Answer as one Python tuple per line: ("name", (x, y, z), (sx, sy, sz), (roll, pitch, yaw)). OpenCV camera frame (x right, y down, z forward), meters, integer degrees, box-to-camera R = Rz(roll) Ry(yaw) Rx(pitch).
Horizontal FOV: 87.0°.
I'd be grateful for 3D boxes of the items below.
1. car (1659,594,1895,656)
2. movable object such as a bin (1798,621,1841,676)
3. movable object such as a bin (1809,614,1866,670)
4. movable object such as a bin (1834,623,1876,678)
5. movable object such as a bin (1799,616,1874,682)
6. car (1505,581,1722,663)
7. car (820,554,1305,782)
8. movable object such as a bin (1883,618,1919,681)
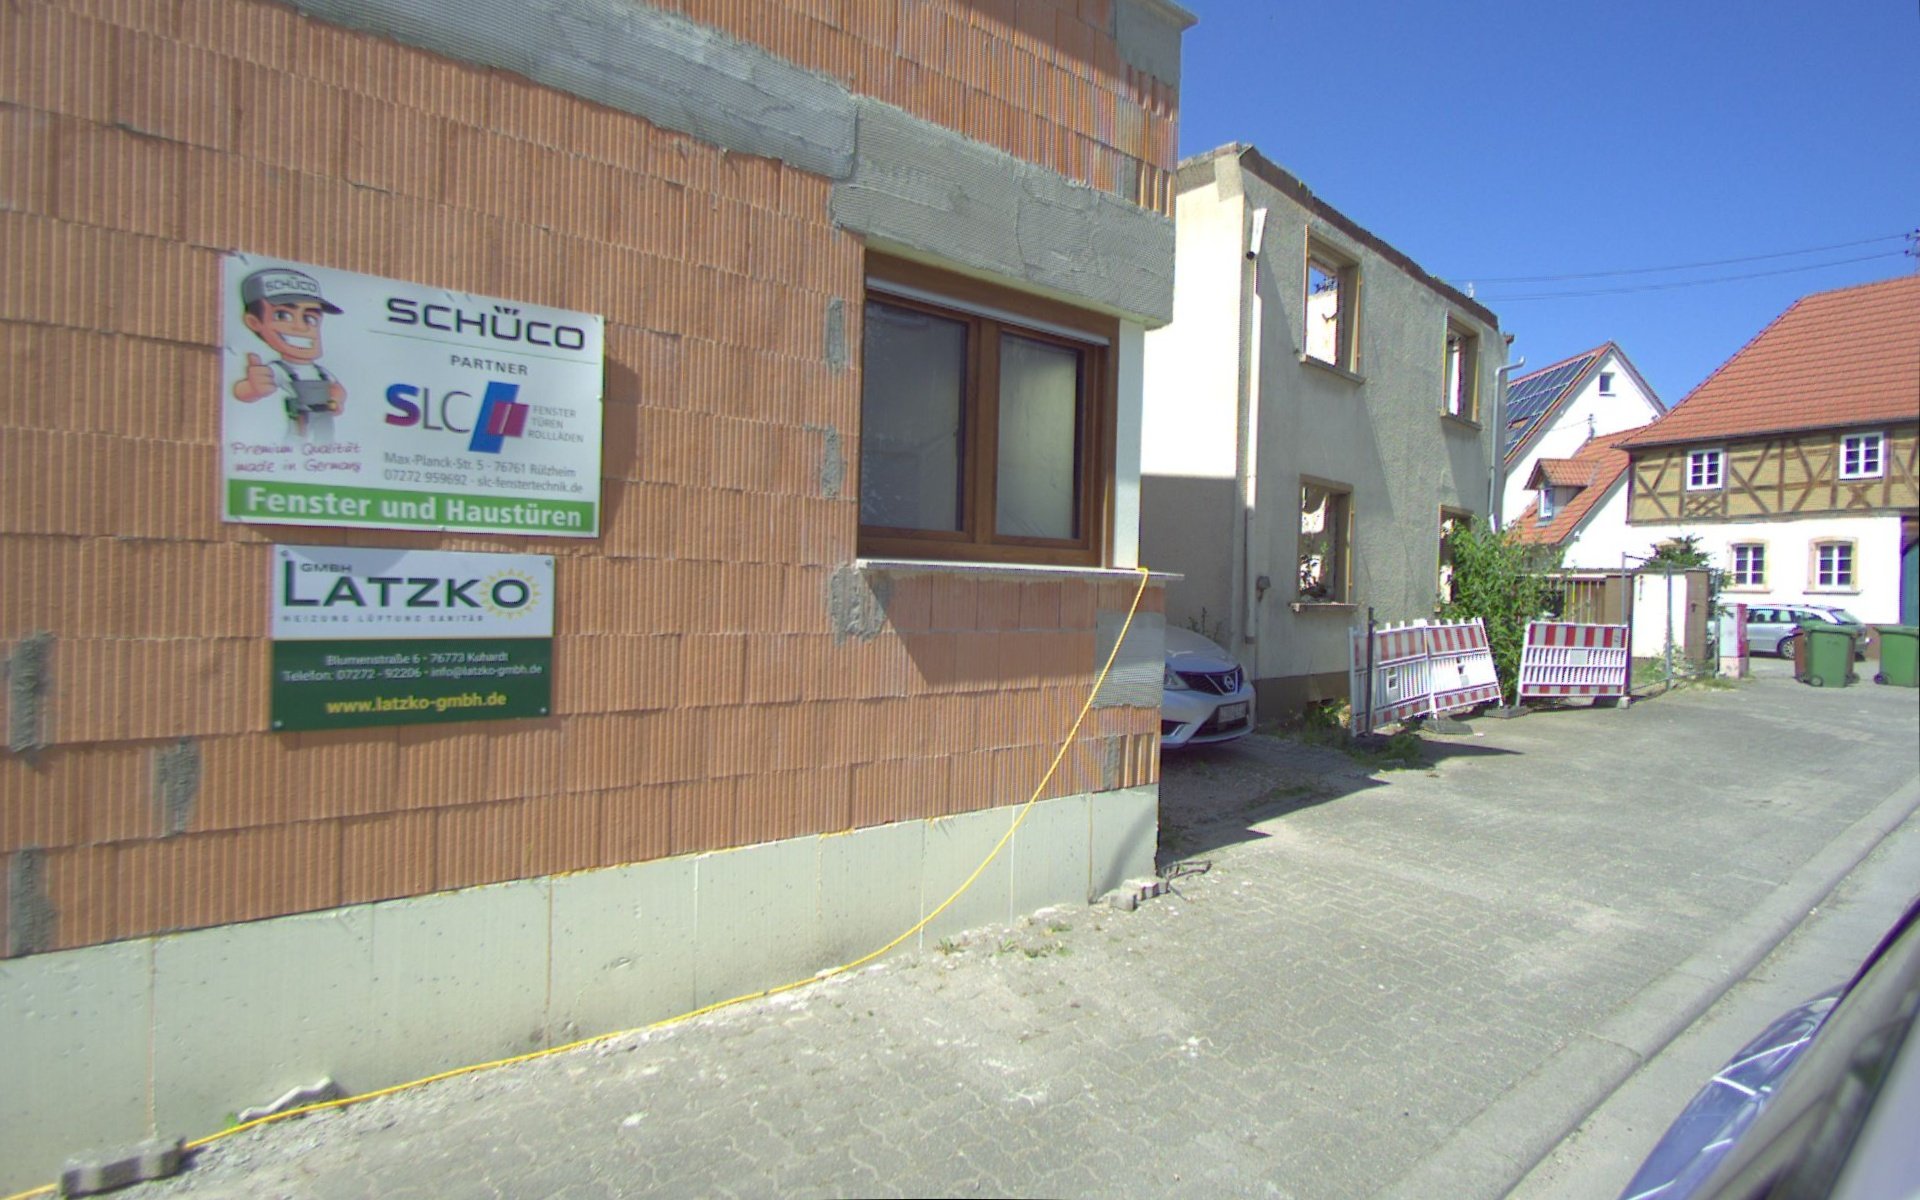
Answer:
("car", (22.807, 0.641, 28.495), (1.959, 1.470, 4.775), (1, 1, -29))
("movable object such as a bin", (15.834, 0.887, 18.647), (0.486, 0.982, 0.467), (1, 0, -32))
("movable object such as a bin", (17.997, 0.842, 20.756), (0.741, 1.095, 0.722), (1, 1, -35))
("movable object such as a bin", (16.180, 0.899, 18.291), (0.453, 0.961, 0.446), (1, 1, -31))
("movable object such as a bin", (15.148, 0.832, 17.506), (0.751, 1.085, 0.668), (2, 0, 18))
("car", (13.790, 0.458, 21.347), (4.207, 1.547, 1.820), (1, 1, -25))
("car", (0.725, 0.402, 9.087), (1.840, 1.526, 4.092), (0, 2, -45))
("movable object such as a bin", (17.274, 0.893, 18.303), (0.625, 1.106, 0.689), (1, 1, -32))
